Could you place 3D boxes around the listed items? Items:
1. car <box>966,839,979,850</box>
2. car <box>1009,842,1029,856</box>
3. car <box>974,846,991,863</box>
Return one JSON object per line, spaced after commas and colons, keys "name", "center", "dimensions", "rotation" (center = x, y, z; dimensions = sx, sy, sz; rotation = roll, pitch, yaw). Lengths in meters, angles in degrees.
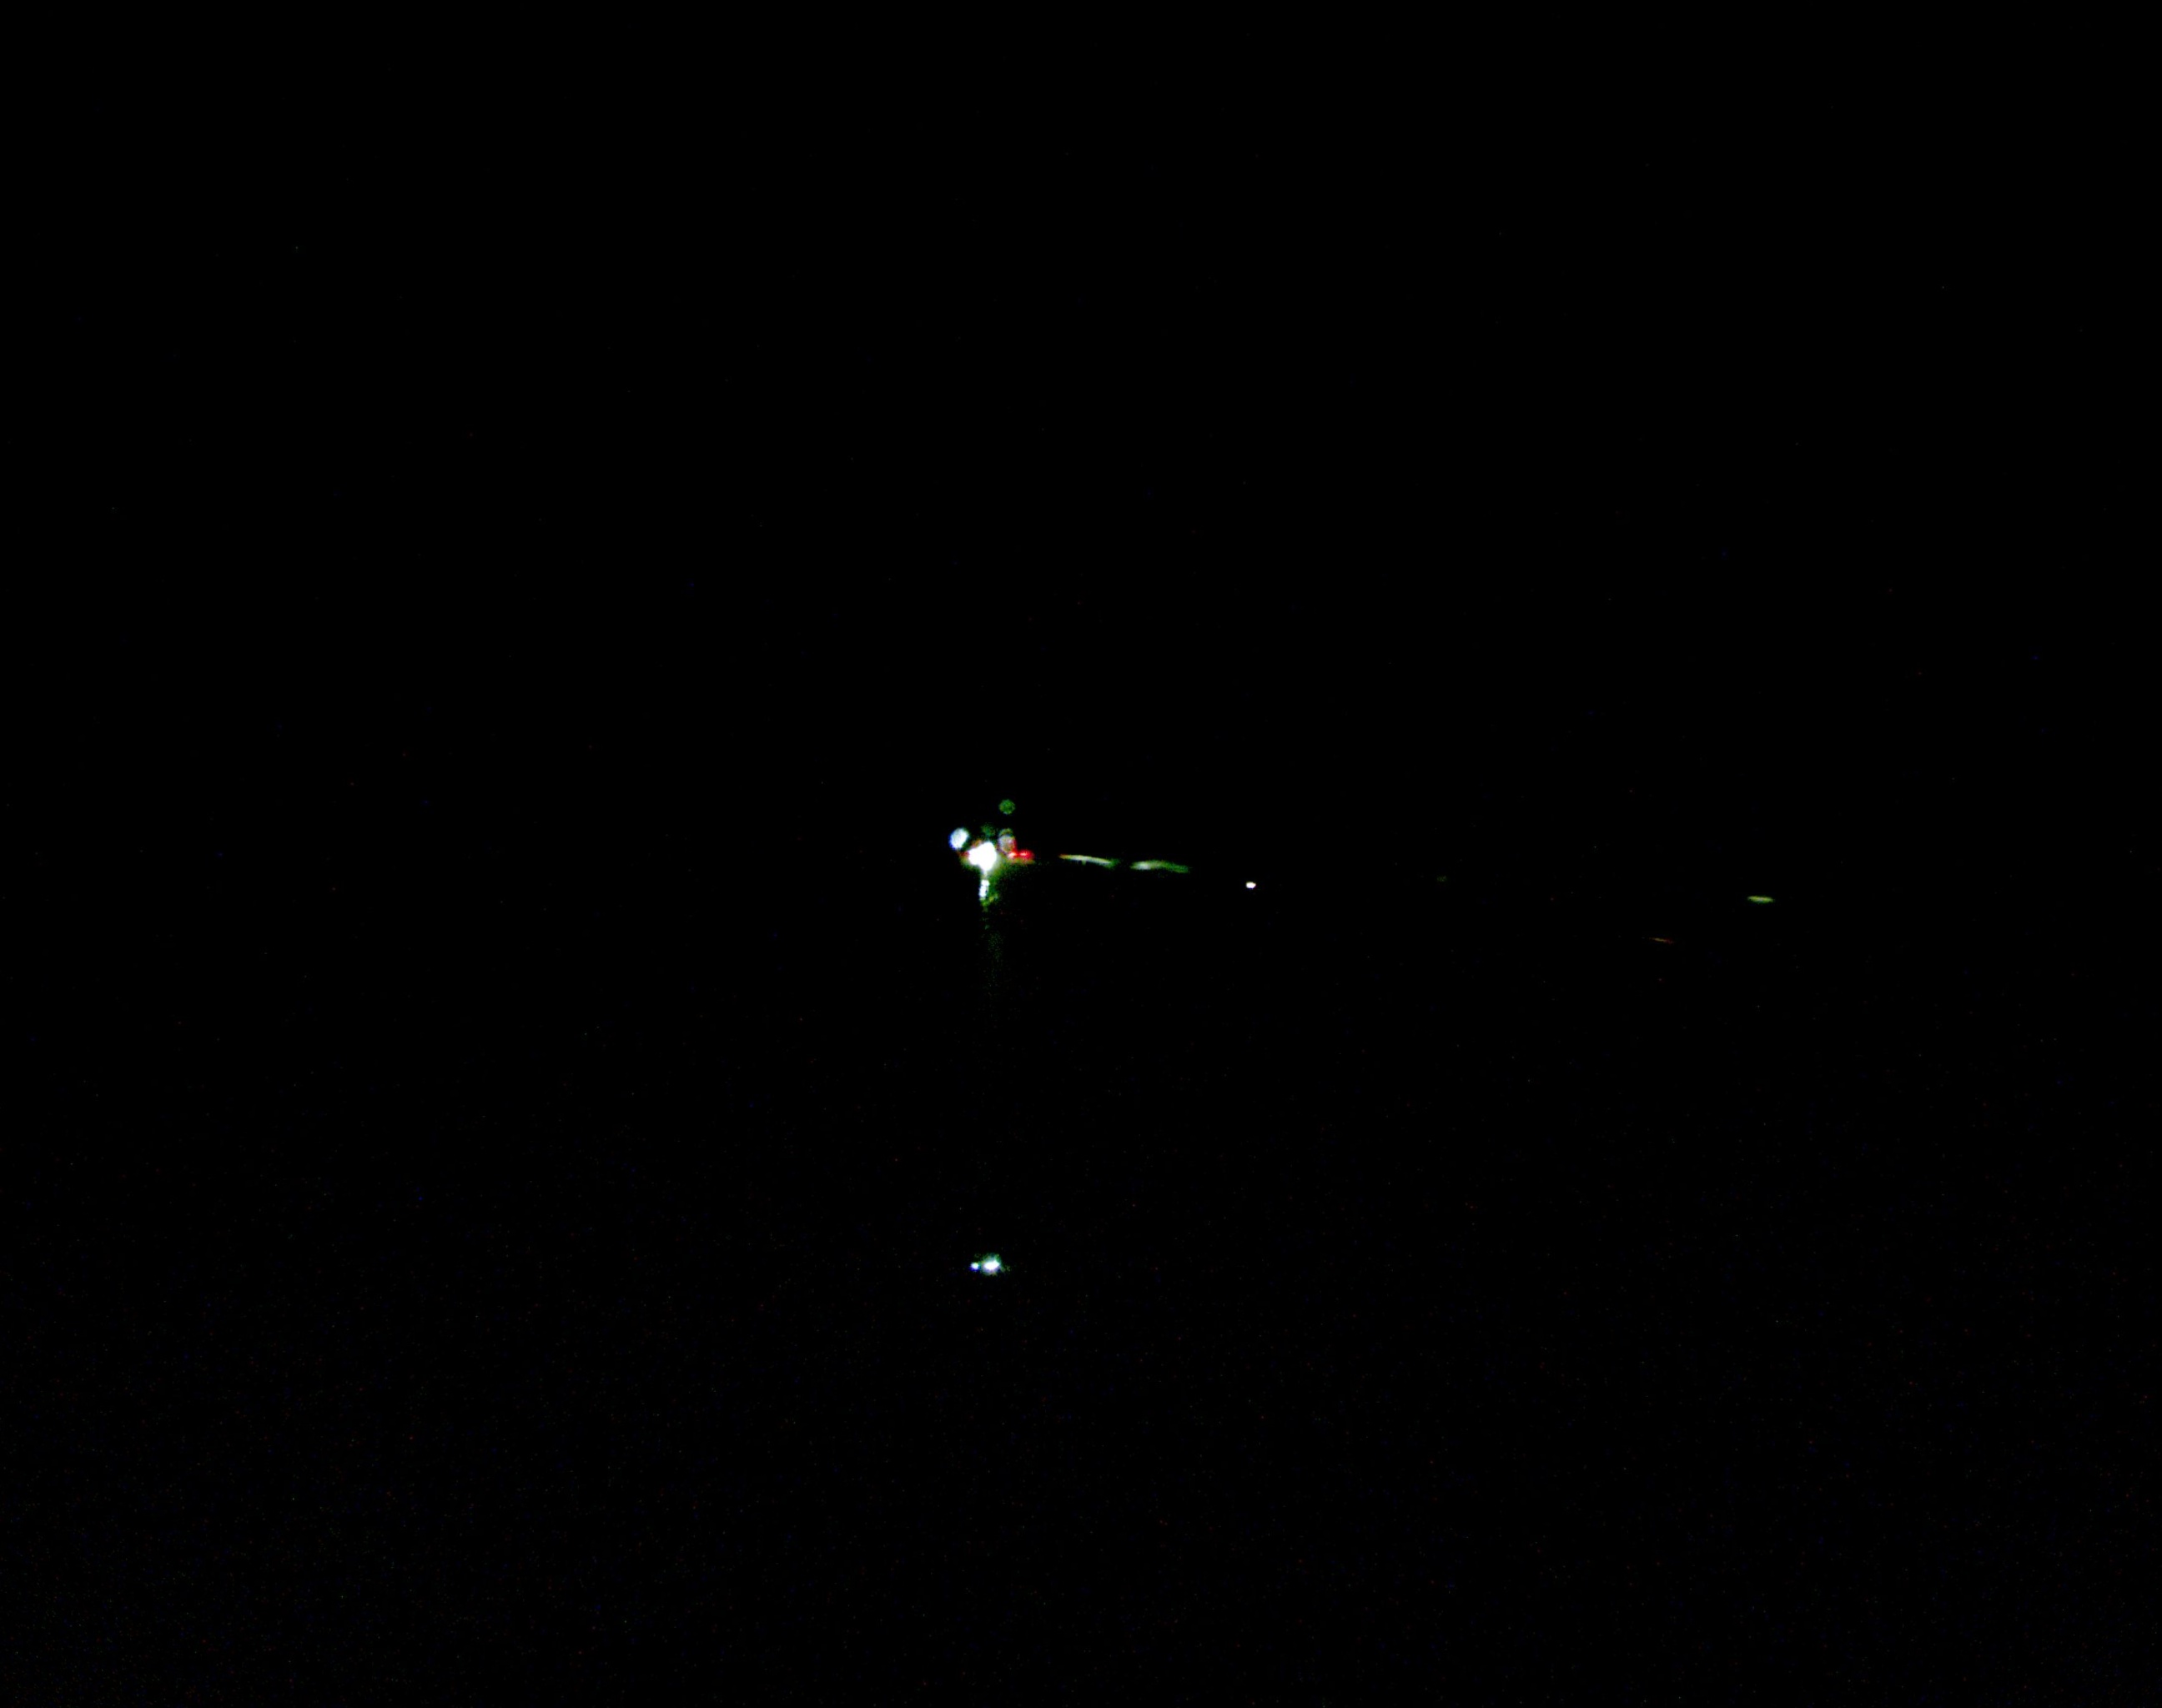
{"name": "car", "center": [-18.989, -1.740, 132.793], "dimensions": [1.785, 1.833, 4.155], "rotation": [-3, 2, -13]}
{"name": "car", "center": [-6.845, -0.566, 83.481], "dimensions": [2.000, 1.403, 3.996], "rotation": [-2, 2, -8]}
{"name": "car", "center": [-11.478, 0.084, 88.565], "dimensions": [1.799, 1.839, 3.639], "rotation": [-2, 2, -9]}
